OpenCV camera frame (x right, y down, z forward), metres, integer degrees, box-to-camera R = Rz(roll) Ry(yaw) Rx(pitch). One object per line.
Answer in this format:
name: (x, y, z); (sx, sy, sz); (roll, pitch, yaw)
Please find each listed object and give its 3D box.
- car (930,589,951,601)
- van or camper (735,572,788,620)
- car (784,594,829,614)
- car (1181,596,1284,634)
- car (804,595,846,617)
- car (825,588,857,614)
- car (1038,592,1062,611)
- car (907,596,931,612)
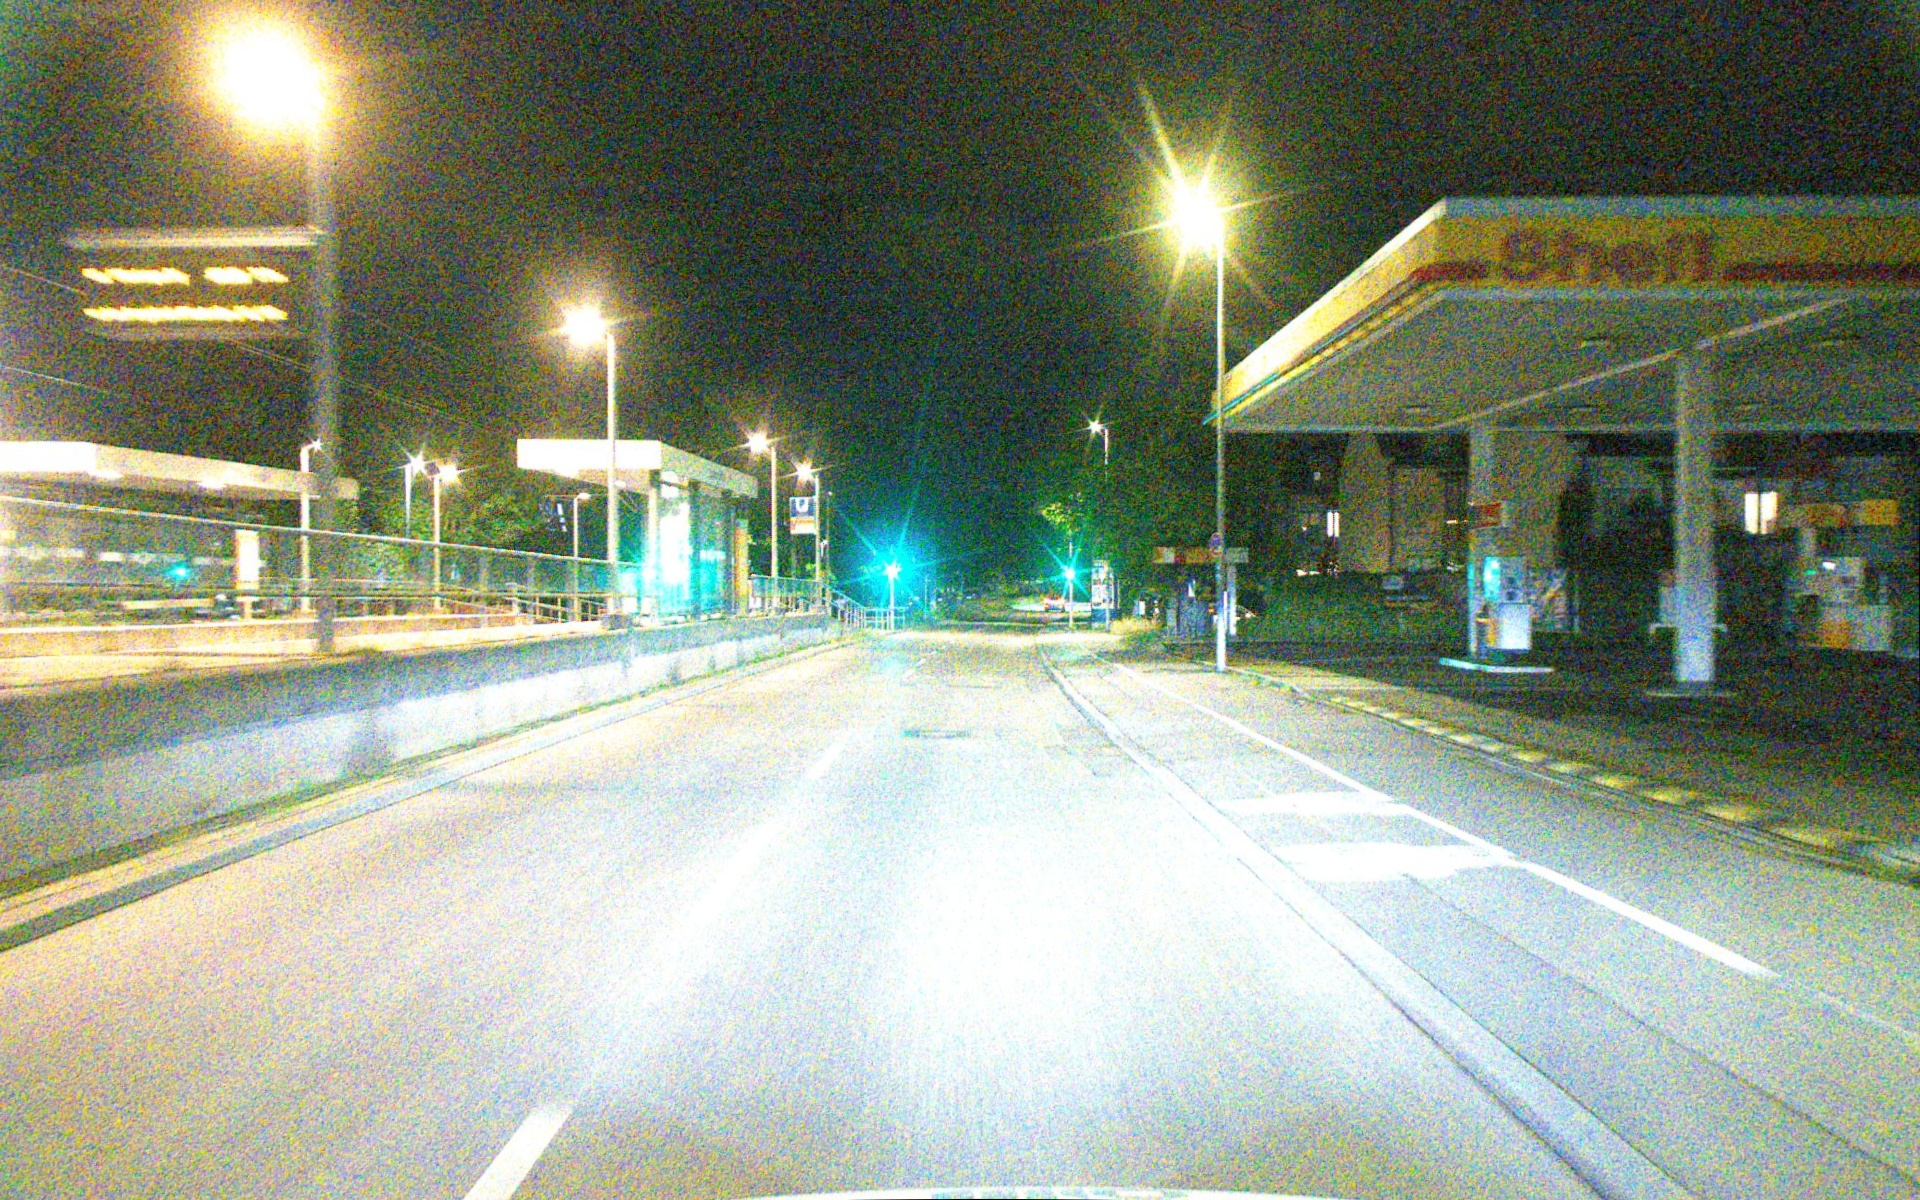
car: (-2.275, -0.553, 193.404); (1.951, 1.361, 5.435); (0, 0, 5)
van or camper: (-11.800, -0.239, 98.546); (2.225, 2.693, 5.665); (-2, 0, 2)
car: (-10.559, 0.286, 113.991); (2.966, 1.349, 1.534); (0, 0, 1)
car: (10.317, 0.562, 62.721); (3.685, 1.378, 1.860); (0, 0, 3)
car: (-9.709, 0.386, 119.444); (1.861, 1.549, 5.176); (0, 0, 8)
car: (-9.020, 0.083, 125.491); (1.818, 1.937, 4.882); (0, 0, 3)
car: (8.166, 0.143, 149.965); (2.116, 1.610, 4.015); (1, 0, 3)
car: (-4.309, 0.393, 173.504); (1.951, 1.656, 4.680); (0, 0, 5)
